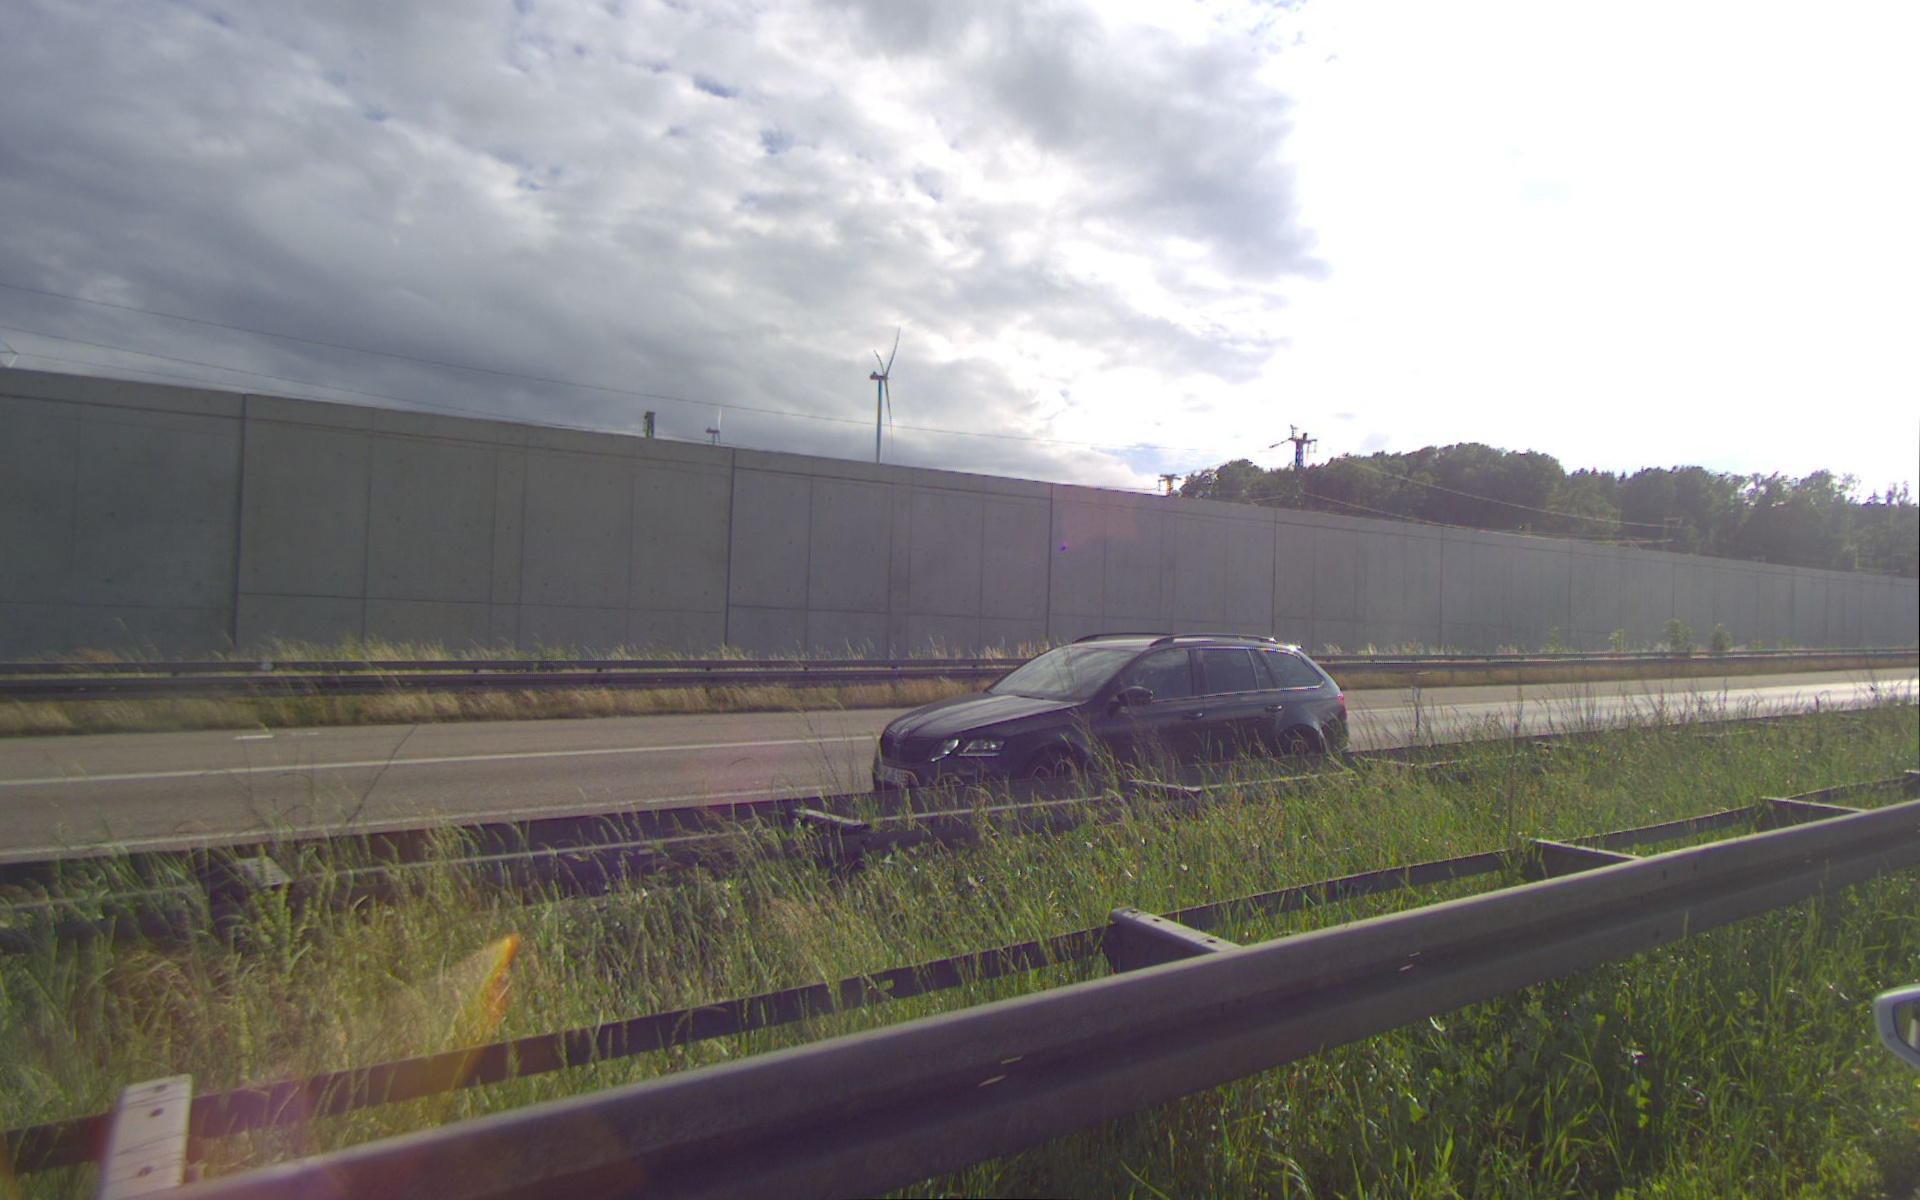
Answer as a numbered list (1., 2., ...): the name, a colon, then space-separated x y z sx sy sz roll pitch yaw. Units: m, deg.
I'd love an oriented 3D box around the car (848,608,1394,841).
1. car: 1.479 0.913 8.655 4.497 1.528 1.834 2 0 -30
